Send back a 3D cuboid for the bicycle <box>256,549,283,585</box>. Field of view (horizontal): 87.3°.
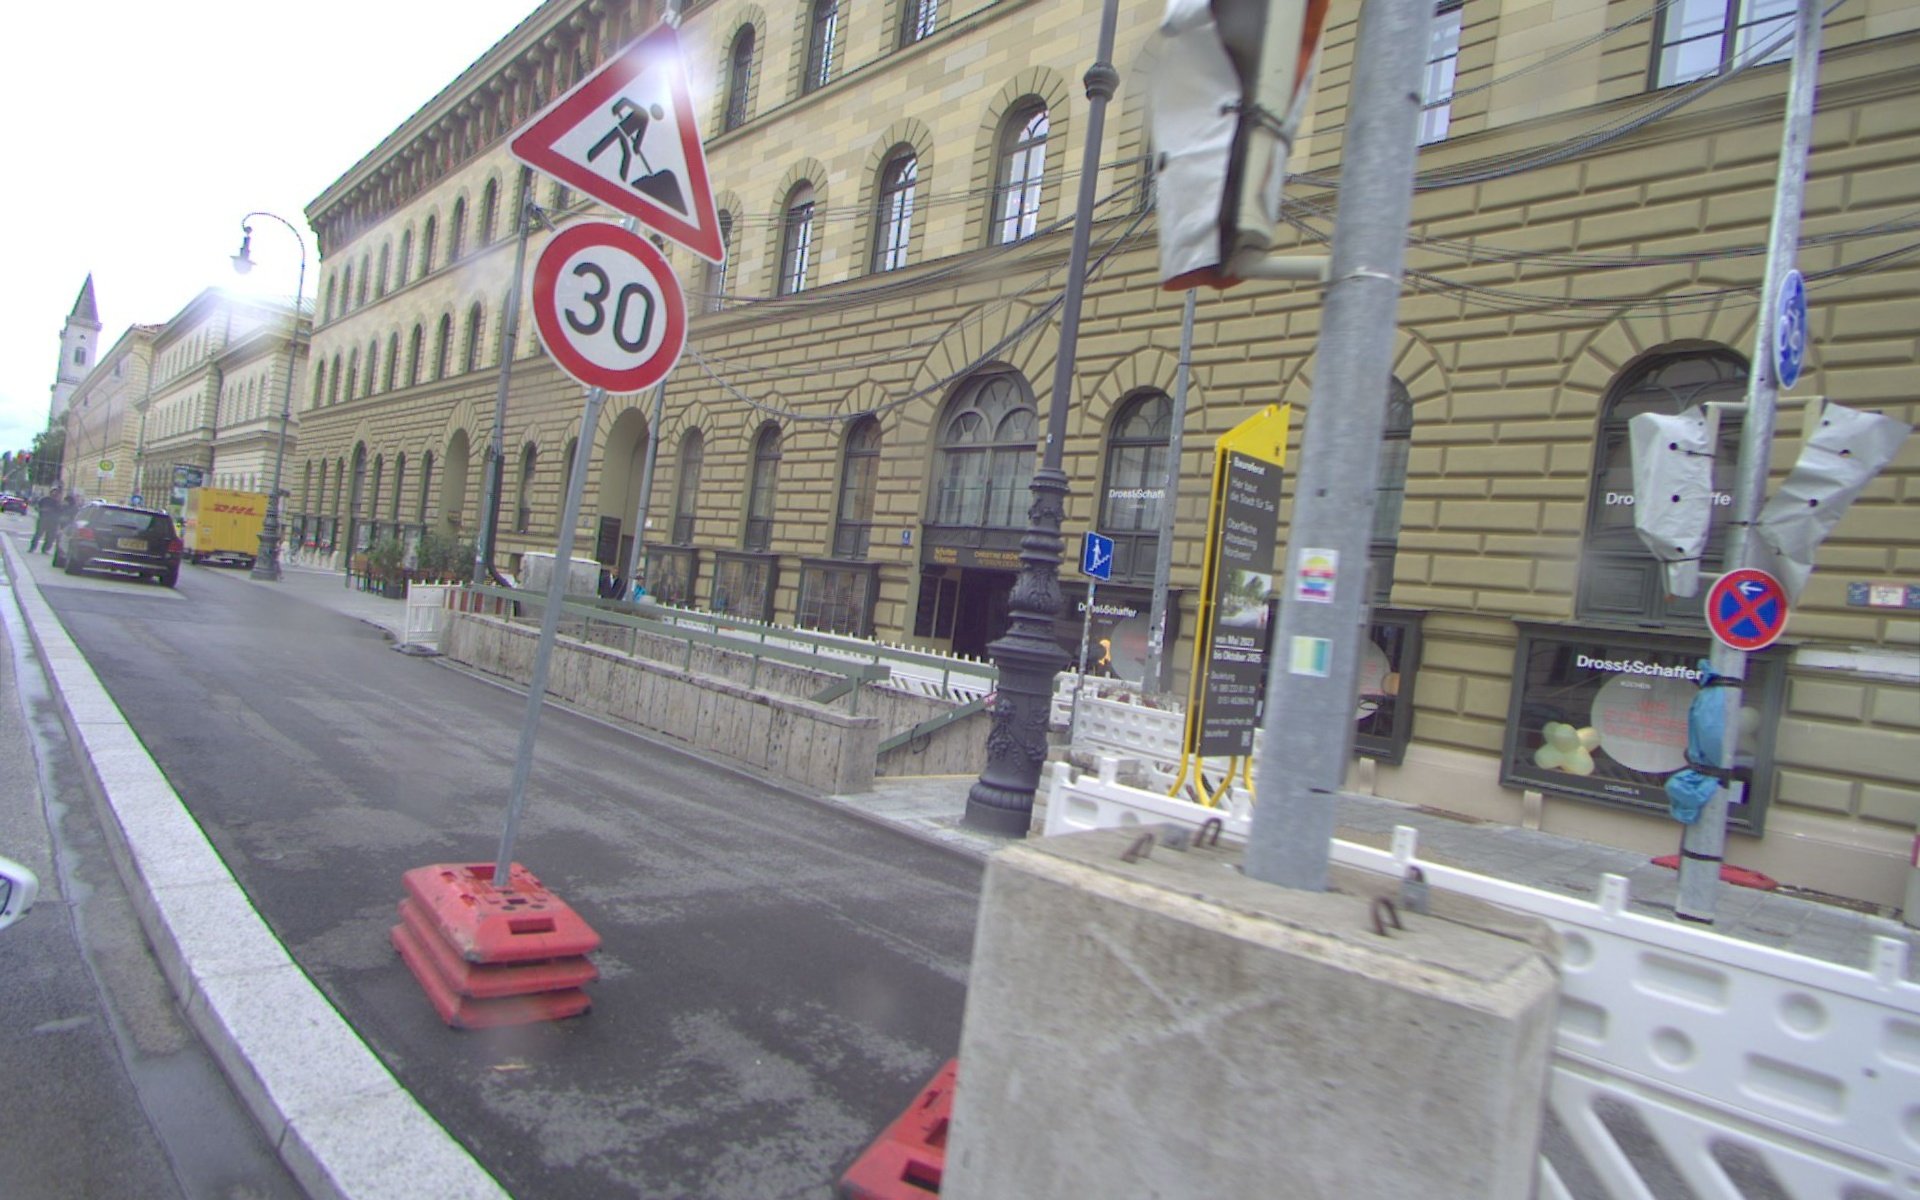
[{"bbox_3d":[-21.641,-1.048,31.533,0.516,1.034,1.634,8,-2,-38],"label":"bicycle"}]

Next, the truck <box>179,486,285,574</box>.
[{"bbox_3d":[-28.381,-2.673,39.119,2.613,2.796,5.742,8,-2,-41],"label":"truck"}]

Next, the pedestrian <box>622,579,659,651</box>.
[{"bbox_3d":[-7.348,0.338,23.107,0.495,1.572,0.626,7,-1,-33],"label":"pedestrian"}]

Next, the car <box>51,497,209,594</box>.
[{"bbox_3d":[-18.640,-1.253,22.525,4.166,1.680,2.067,6,-3,43],"label":"car"}]

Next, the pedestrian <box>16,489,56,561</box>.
[{"bbox_3d":[-25.571,-2.066,27.860,0.613,1.897,0.535,7,-1,-41],"label":"pedestrian"}]

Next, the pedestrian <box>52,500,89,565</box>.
[{"bbox_3d":[-25.045,-1.904,28.328,0.613,1.722,0.535,8,-2,-42],"label":"pedestrian"}]

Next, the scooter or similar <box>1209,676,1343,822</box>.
[{"bbox_3d":[3.117,1.451,9.990,0.349,1.264,1.127,7,-2,-42],"label":"scooter or similar"}]

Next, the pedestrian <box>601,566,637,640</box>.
[{"bbox_3d":[-8.420,0.073,24.829,0.552,1.732,0.673,7,-1,-26],"label":"pedestrian"}]

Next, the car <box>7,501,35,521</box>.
[{"bbox_3d":[-94.334,-8.930,101.059,1.855,1.597,3.951,8,-3,-44],"label":"car"}]

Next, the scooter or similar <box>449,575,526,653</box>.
[{"bbox_3d":[-8.156,0.258,17.411,0.293,1.265,1.137,6,0,32],"label":"scooter or similar"}]

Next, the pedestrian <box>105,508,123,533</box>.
[{"bbox_3d":[-62.718,-5.870,74.596,0.795,1.710,0.790,8,-2,-44],"label":"pedestrian"}]

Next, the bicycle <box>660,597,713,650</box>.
[{"bbox_3d":[-6.288,0.531,23.068,0.375,1.034,1.631,8,0,-41],"label":"bicycle"}]
